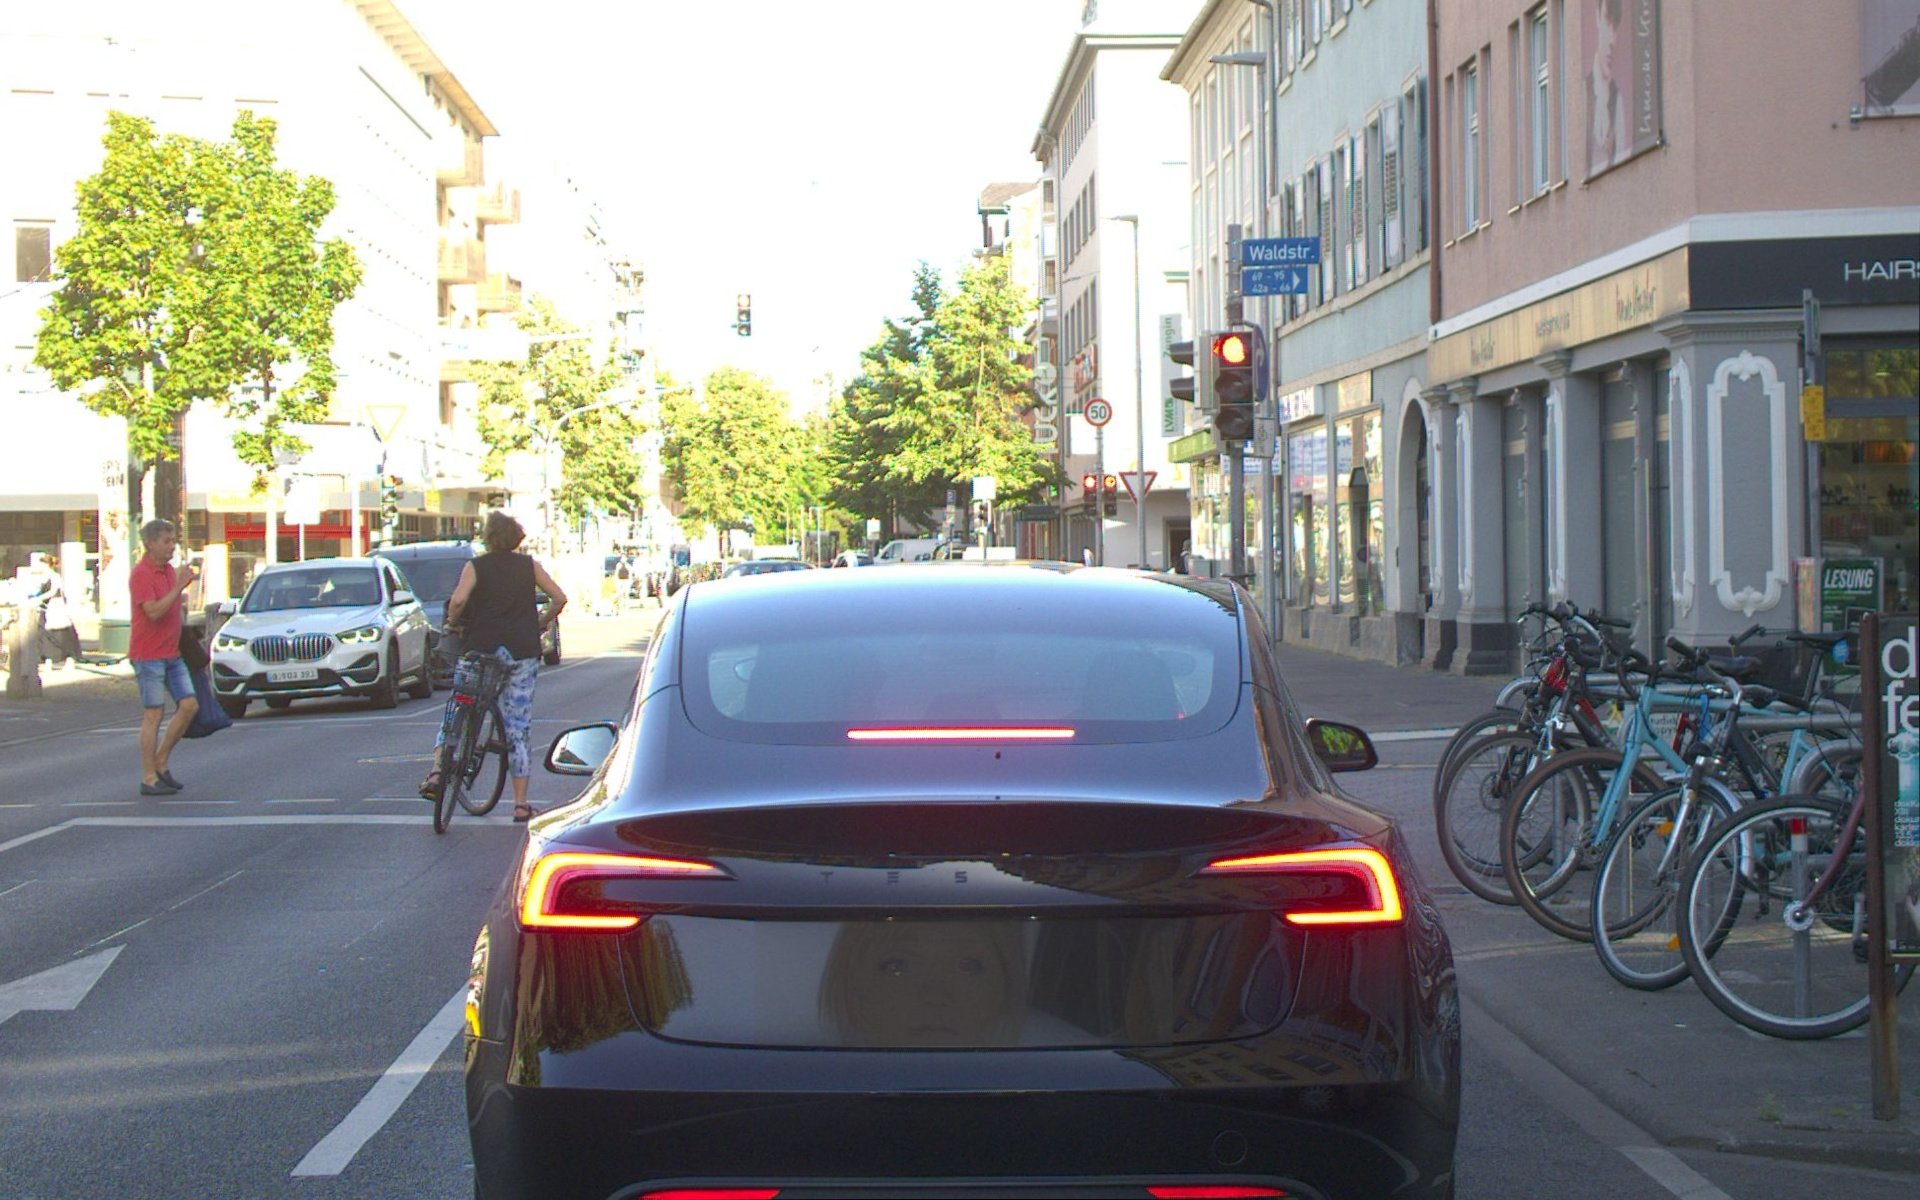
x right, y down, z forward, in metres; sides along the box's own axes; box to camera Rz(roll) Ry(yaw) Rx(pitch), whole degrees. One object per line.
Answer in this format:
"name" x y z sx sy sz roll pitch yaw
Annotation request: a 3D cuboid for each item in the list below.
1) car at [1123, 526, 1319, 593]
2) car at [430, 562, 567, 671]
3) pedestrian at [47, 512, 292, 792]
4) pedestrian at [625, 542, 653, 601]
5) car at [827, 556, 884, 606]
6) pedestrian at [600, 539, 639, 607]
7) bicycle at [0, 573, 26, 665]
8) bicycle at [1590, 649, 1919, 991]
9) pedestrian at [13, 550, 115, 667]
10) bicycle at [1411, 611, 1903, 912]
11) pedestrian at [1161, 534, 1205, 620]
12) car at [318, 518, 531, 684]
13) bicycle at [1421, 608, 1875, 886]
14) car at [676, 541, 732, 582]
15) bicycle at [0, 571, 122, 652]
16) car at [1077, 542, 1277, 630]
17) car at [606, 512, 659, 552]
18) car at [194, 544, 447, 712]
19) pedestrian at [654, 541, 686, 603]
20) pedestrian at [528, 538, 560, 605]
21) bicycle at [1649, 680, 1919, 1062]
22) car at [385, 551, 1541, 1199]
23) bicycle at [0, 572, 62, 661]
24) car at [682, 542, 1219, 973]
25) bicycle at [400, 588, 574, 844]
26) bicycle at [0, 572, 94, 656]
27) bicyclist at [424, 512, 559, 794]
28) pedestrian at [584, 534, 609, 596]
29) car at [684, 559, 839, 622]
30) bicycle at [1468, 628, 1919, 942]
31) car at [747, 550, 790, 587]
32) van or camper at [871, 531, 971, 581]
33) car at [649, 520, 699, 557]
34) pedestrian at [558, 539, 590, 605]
"car" 6.753 -1.050 88.877 4.697 1.425 1.736 -4 1 -24
"car" -6.648 0.209 49.792 1.461 1.425 3.606 -4 1 -1
"pedestrian" -5.011 0.315 21.848 1.110 1.714 1.061 1 0 18
"pedestrian" -10.107 -0.899 108.354 0.694 1.861 0.910 1 0 -17
"car" -3.847 -0.722 127.602 2.035 1.782 4.006 0 1 -1
"pedestrian" -9.353 -0.748 94.459 0.734 1.861 0.789 1 0 28
"bicycle" -14.481 0.240 47.542 2.875 1.266 0.943 1 0 -3
"bicycle" 3.001 0.696 11.116 1.813 1.056 0.653 0 1 1
"pedestrian" -12.521 0.109 48.096 1.092 1.606 1.266 1 0 -1
"bicycle" 2.733 0.624 13.596 1.813 1.148 0.653 0 1 1
"pedestrian" 4.576 -0.474 70.522 0.658 1.754 0.654 1 0 -24
"car" -6.567 -0.031 42.658 1.945 1.940 4.820 0 1 -1
"bicycle" 2.925 0.616 14.730 1.813 1.148 0.653 0 1 1
"car" -12.375 -1.868 166.447 2.414 1.963 4.678 0 1 -1
"bicycle" -14.688 0.168 54.561 2.542 1.247 0.943 1 0 -3
"car" 4.718 -0.322 74.669 3.992 1.861 1.698 0 1 -21
"car" -17.103 -3.535 179.638 2.275 2.007 4.717 1 1 1
"car" -6.683 0.259 36.335 1.825 1.559 4.301 -4 1 -1
"pedestrian" -8.817 -0.841 104.443 0.774 1.861 1.009 1 0 -15
"pedestrian" -11.737 -0.807 96.943 0.732 1.861 0.791 1 0 -17
"bicycle" 3.027 0.763 10.044 1.882 1.040 0.653 -1 1 1
"car" -0.023 0.632 7.768 1.850 1.442 4.452 1 1 -1
"bicycle" -14.482 0.222 49.861 2.662 1.255 0.943 1 0 -3
"car" -0.058 0.528 14.193 1.850 1.476 4.452 1 1 -1
"bicycle" -2.518 0.588 18.496 0.628 1.218 2.001 1 2 1
"bicycle" -14.527 0.195 52.136 2.542 1.247 0.943 1 0 -3
"bicyclist" -2.526 0.273 18.610 0.606 1.479 0.958 1 0 -1
"pedestrian" -10.983 -1.071 103.874 0.695 1.861 0.659 1 0 -5
"car" -4.490 -0.217 78.365 1.696 1.385 3.909 1 1 29
"bicycle" 2.802 0.660 12.522 1.813 1.098 0.653 0 1 1
"car" -10.420 -1.740 187.130 2.132 1.963 4.134 0 1 -1
"van or camper" -1.880 -2.133 167.543 4.850 2.430 1.851 0 1 -1
"car" -15.626 -3.355 188.277 2.275 2.007 4.717 1 1 1
"pedestrian" -10.906 -0.797 97.137 0.732 1.861 0.791 1 0 -17
